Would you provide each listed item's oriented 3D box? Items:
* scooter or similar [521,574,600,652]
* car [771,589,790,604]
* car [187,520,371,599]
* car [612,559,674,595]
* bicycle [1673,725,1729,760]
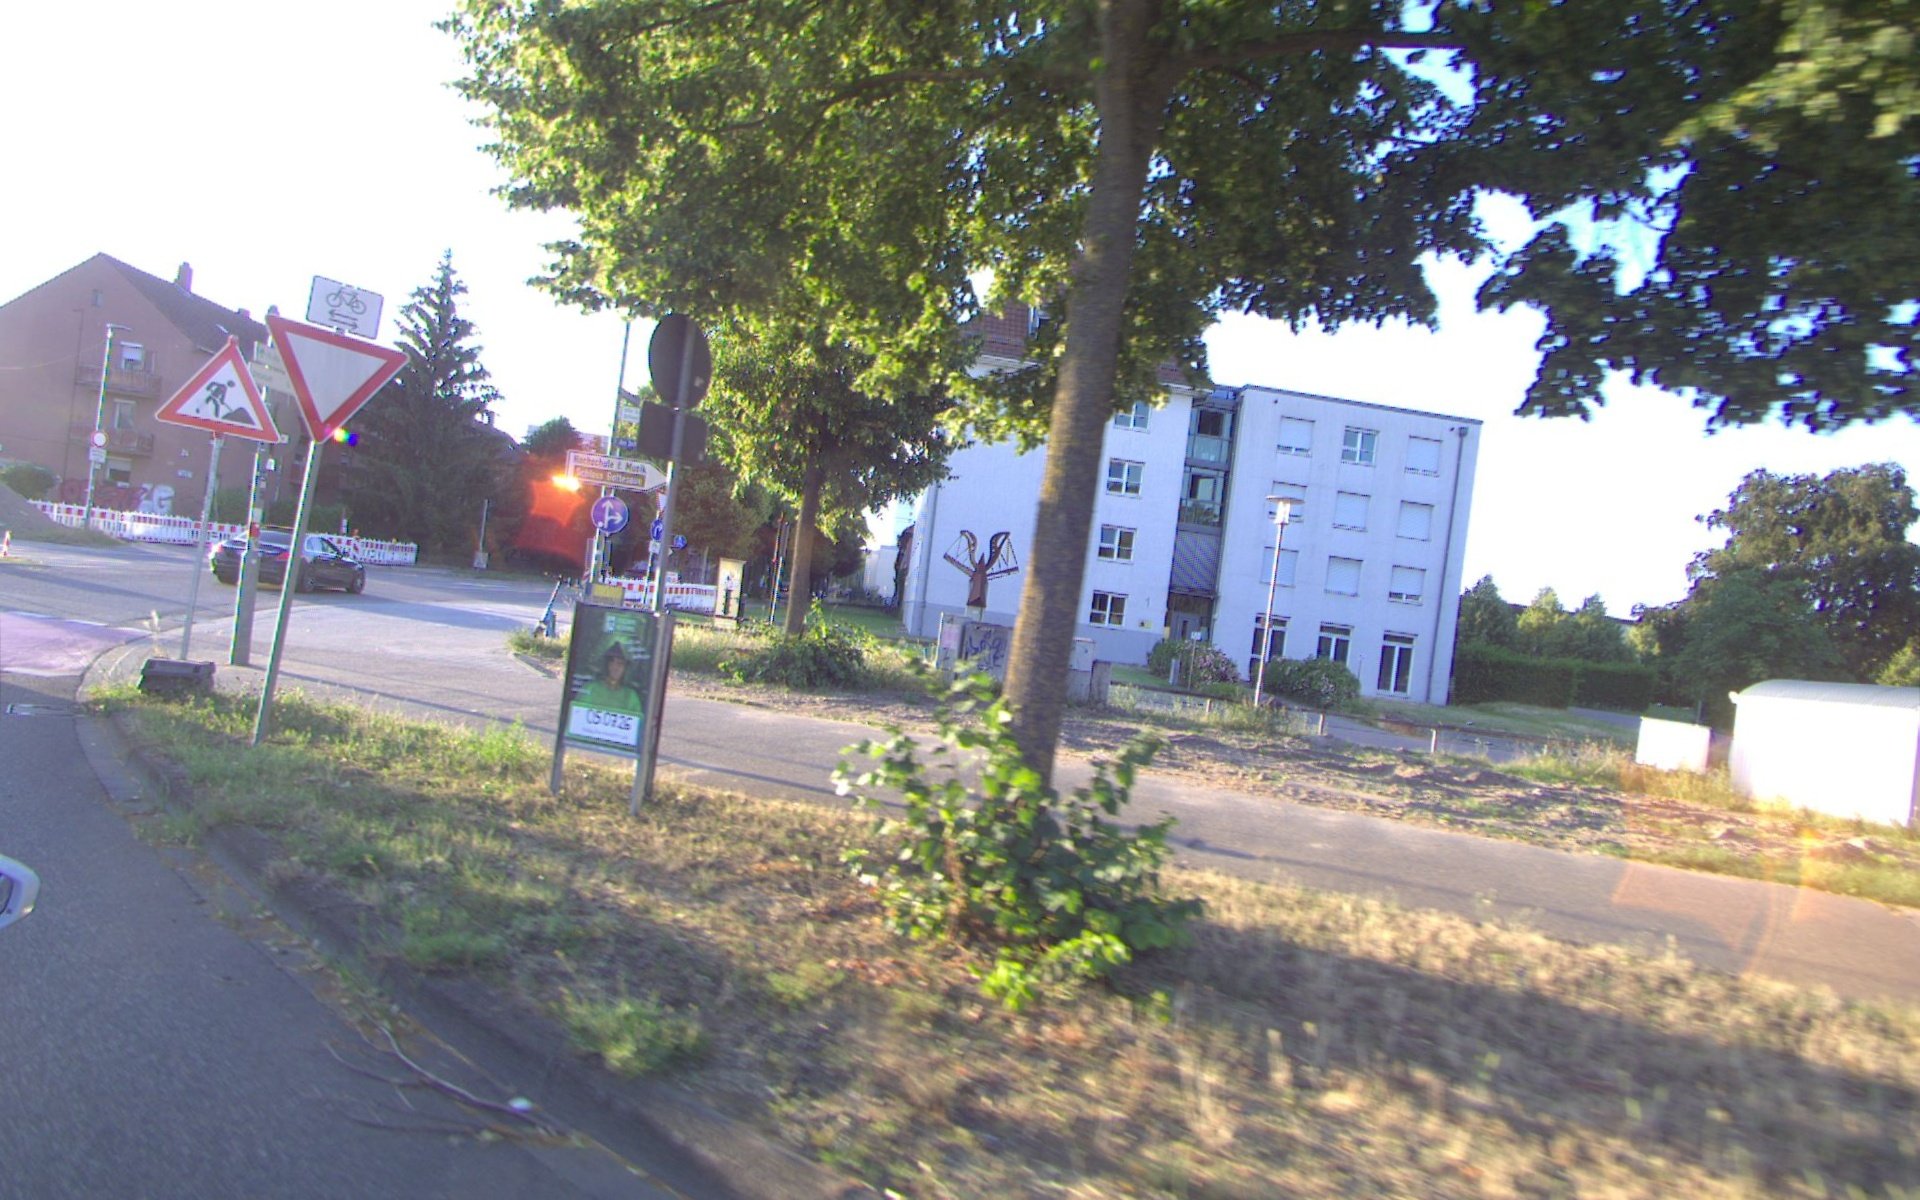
[{"bbox_3d":[-7.085,0.244,17.877,0.435,1.253,1.121,8,0,34],"label":"scooter or similar"},{"bbox_3d":[-23.365,-0.394,131.308,1.924,1.621,4.075,8,-1,-6],"label":"car"},{"bbox_3d":[-16.076,-0.898,24.073,1.926,1.444,4.420,8,-1,-11],"label":"car"},{"bbox_3d":[-17.433,-1.280,55.515,1.922,1.622,4.073,10,1,-1],"label":"car"},{"bbox_3d":[26.572,5.106,36.102,0.398,0.890,1.846,7,1,-5],"label":"bicycle"}]
